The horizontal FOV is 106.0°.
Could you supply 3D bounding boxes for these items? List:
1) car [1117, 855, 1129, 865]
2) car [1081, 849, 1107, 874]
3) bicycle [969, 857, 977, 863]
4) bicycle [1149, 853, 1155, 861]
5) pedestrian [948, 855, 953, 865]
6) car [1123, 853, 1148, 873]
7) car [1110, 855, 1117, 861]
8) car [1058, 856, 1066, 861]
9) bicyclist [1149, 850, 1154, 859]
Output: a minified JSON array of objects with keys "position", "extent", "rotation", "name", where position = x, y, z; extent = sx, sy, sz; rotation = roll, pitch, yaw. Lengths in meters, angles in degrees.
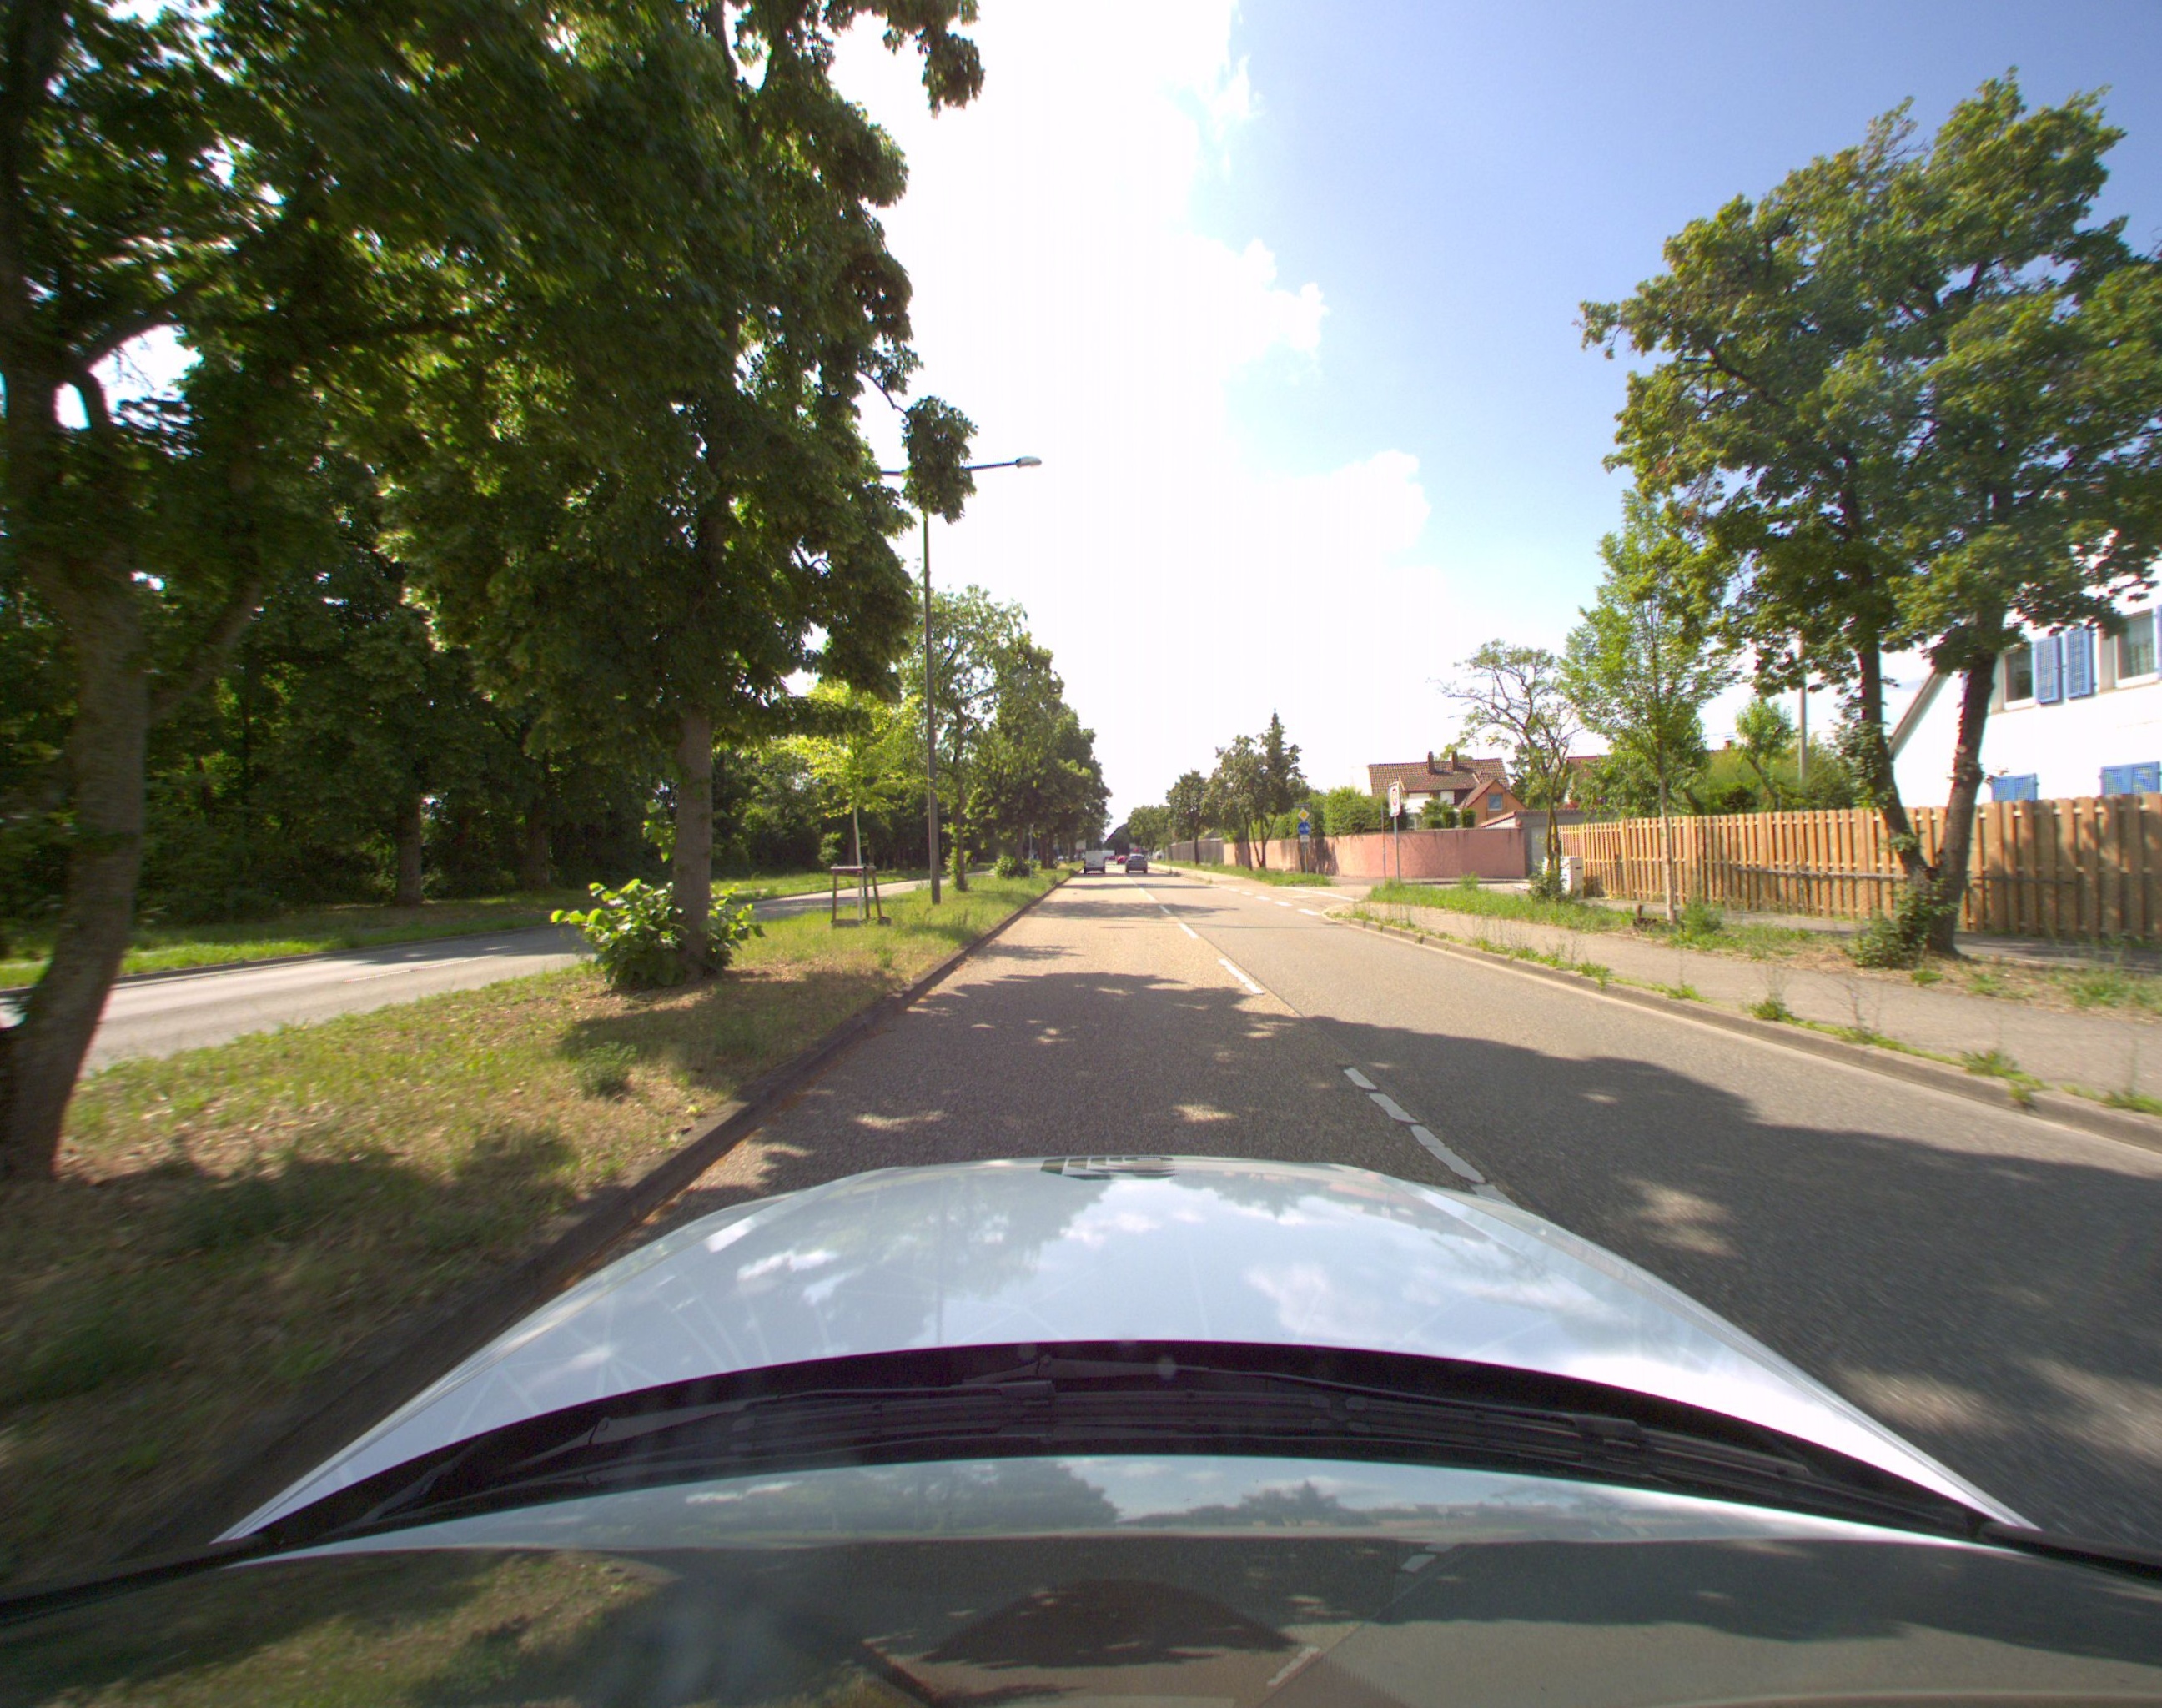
[{"position":[6.648,0.952,129.938],"extent":[1.873,1.587,4.001],"rotation":[-1,0,1],"name":"car"},{"position":[1.088,0.587,67.296],"extent":[2.058,1.912,4.648],"rotation":[-1,0,1],"name":"car"},{"position":[-15.403,0.824,116.087],"extent":[0.615,0.878,1.917],"rotation":[-1,0,4],"name":"bicycle"},{"position":[10.463,0.453,120.036],"extent":[0.643,1.067,2.279],"rotation":[-4,0,2],"name":"bicycle"},{"position":[-20.895,1.012,130.349],"extent":[0.641,1.630,0.656],"rotation":[0,0,2],"name":"pedestrian"},{"position":[4.542,0.767,68.424],"extent":[1.868,1.589,4.186],"rotation":[-1,0,2],"name":"car"},{"position":[9.154,1.044,232.170],"extent":[1.986,1.772,4.148],"rotation":[0,0,1],"name":"car"},{"position":[-5.934,1.393,253.959],"extent":[1.986,1.705,4.195],"rotation":[-1,0,2],"name":"car"},{"position":[10.443,0.068,120.108],"extent":[0.652,1.412,0.987],"rotation":[-4,0,2],"name":"bicyclist"}]
